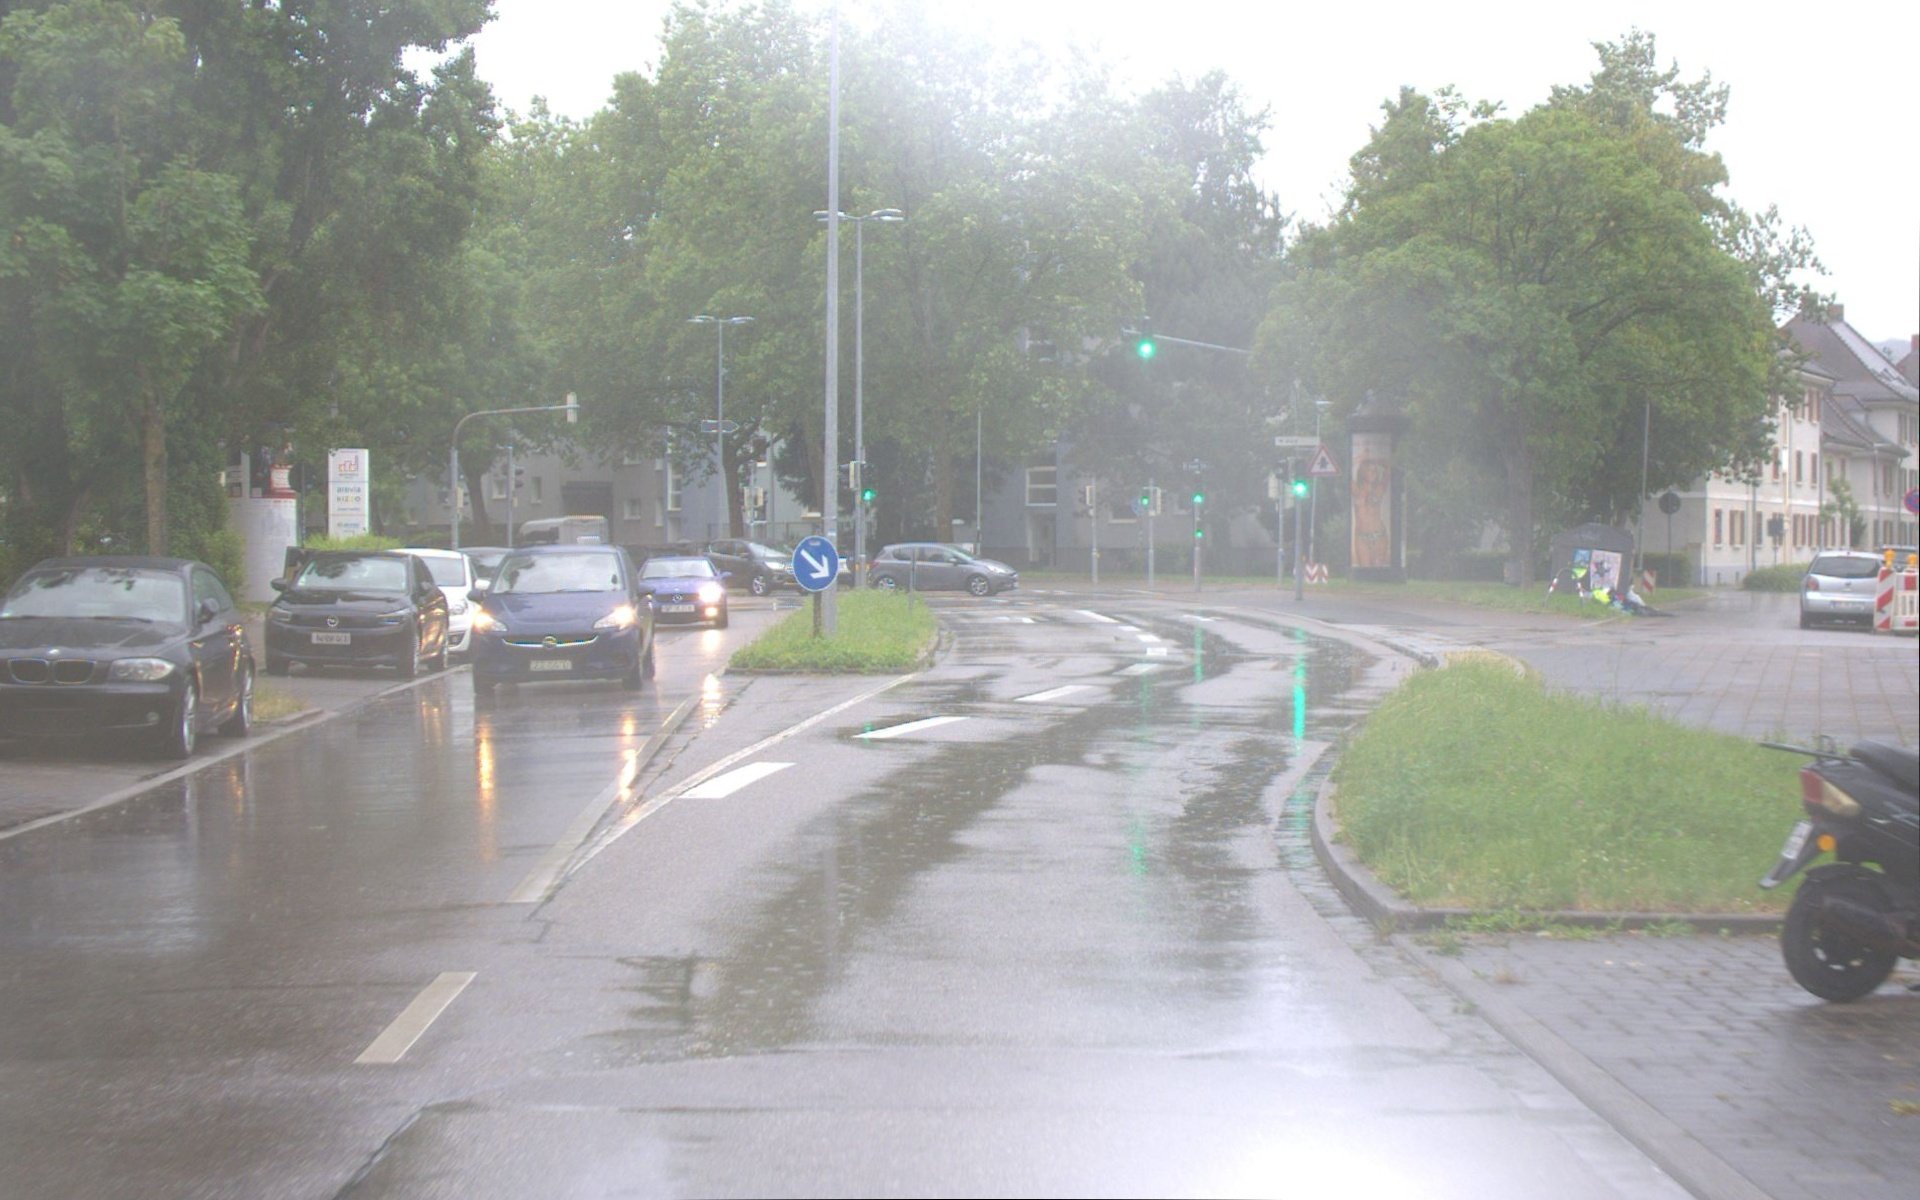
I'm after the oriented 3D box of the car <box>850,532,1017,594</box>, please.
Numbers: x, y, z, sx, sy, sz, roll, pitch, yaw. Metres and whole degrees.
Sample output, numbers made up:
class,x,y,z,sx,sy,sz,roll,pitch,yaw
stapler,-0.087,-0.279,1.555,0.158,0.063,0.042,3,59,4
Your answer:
class,x,y,z,sx,sy,sz,roll,pitch,yaw
car,-0.714,-1.005,92.782,4.078,1.597,1.998,1,1,17

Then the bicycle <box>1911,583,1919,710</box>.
class,x,y,z,sx,sy,sz,roll,pitch,yaw
bicycle,8.352,0.413,28.146,0.673,1.056,1.972,1,2,3

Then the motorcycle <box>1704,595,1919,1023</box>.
class,x,y,z,sx,sy,sz,roll,pitch,yaw
motorcycle,3.303,0.666,11.166,1.589,1.320,0.695,1,2,-1

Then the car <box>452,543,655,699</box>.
class,x,y,z,sx,sy,sz,roll,pitch,yaw
car,-4.120,0.185,35.339,1.706,1.496,3.946,-1,1,-2

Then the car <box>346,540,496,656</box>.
class,x,y,z,sx,sy,sz,roll,pitch,yaw
car,-7.230,-0.046,46.428,1.602,1.469,4.123,1,1,-4

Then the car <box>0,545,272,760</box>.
class,x,y,z,sx,sy,sz,roll,pitch,yaw
car,-6.309,0.331,25.427,1.695,1.440,4.098,1,1,-2

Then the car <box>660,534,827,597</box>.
class,x,y,z,sx,sy,sz,roll,pitch,yaw
car,-6.131,-0.980,97.563,4.294,1.738,1.998,1,1,18

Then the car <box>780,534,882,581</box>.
class,x,y,z,sx,sy,sz,roll,pitch,yaw
car,-4.130,-1.367,109.639,1.706,1.406,3.645,-3,2,-30

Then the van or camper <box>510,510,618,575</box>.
class,x,y,z,sx,sy,sz,roll,pitch,yaw
van or camper,-17.532,-2.501,152.002,2.318,2.798,6.864,0,0,-29

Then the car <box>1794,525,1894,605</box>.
class,x,y,z,sx,sy,sz,roll,pitch,yaw
car,16.474,-0.654,64.196,1.635,1.428,4.174,1,1,12

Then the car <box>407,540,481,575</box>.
class,x,y,z,sx,sy,sz,roll,pitch,yaw
car,-24.508,-2.015,163.315,1.915,1.615,4.370,0,1,-31

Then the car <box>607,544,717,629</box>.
class,x,y,z,sx,sy,sz,roll,pitch,yaw
car,-5.280,-0.257,61.280,1.727,1.388,3.951,-2,1,-2

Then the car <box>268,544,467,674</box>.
class,x,y,z,sx,sy,sz,roll,pitch,yaw
car,-6.871,0.082,40.207,1.726,1.378,4.180,2,0,-3
